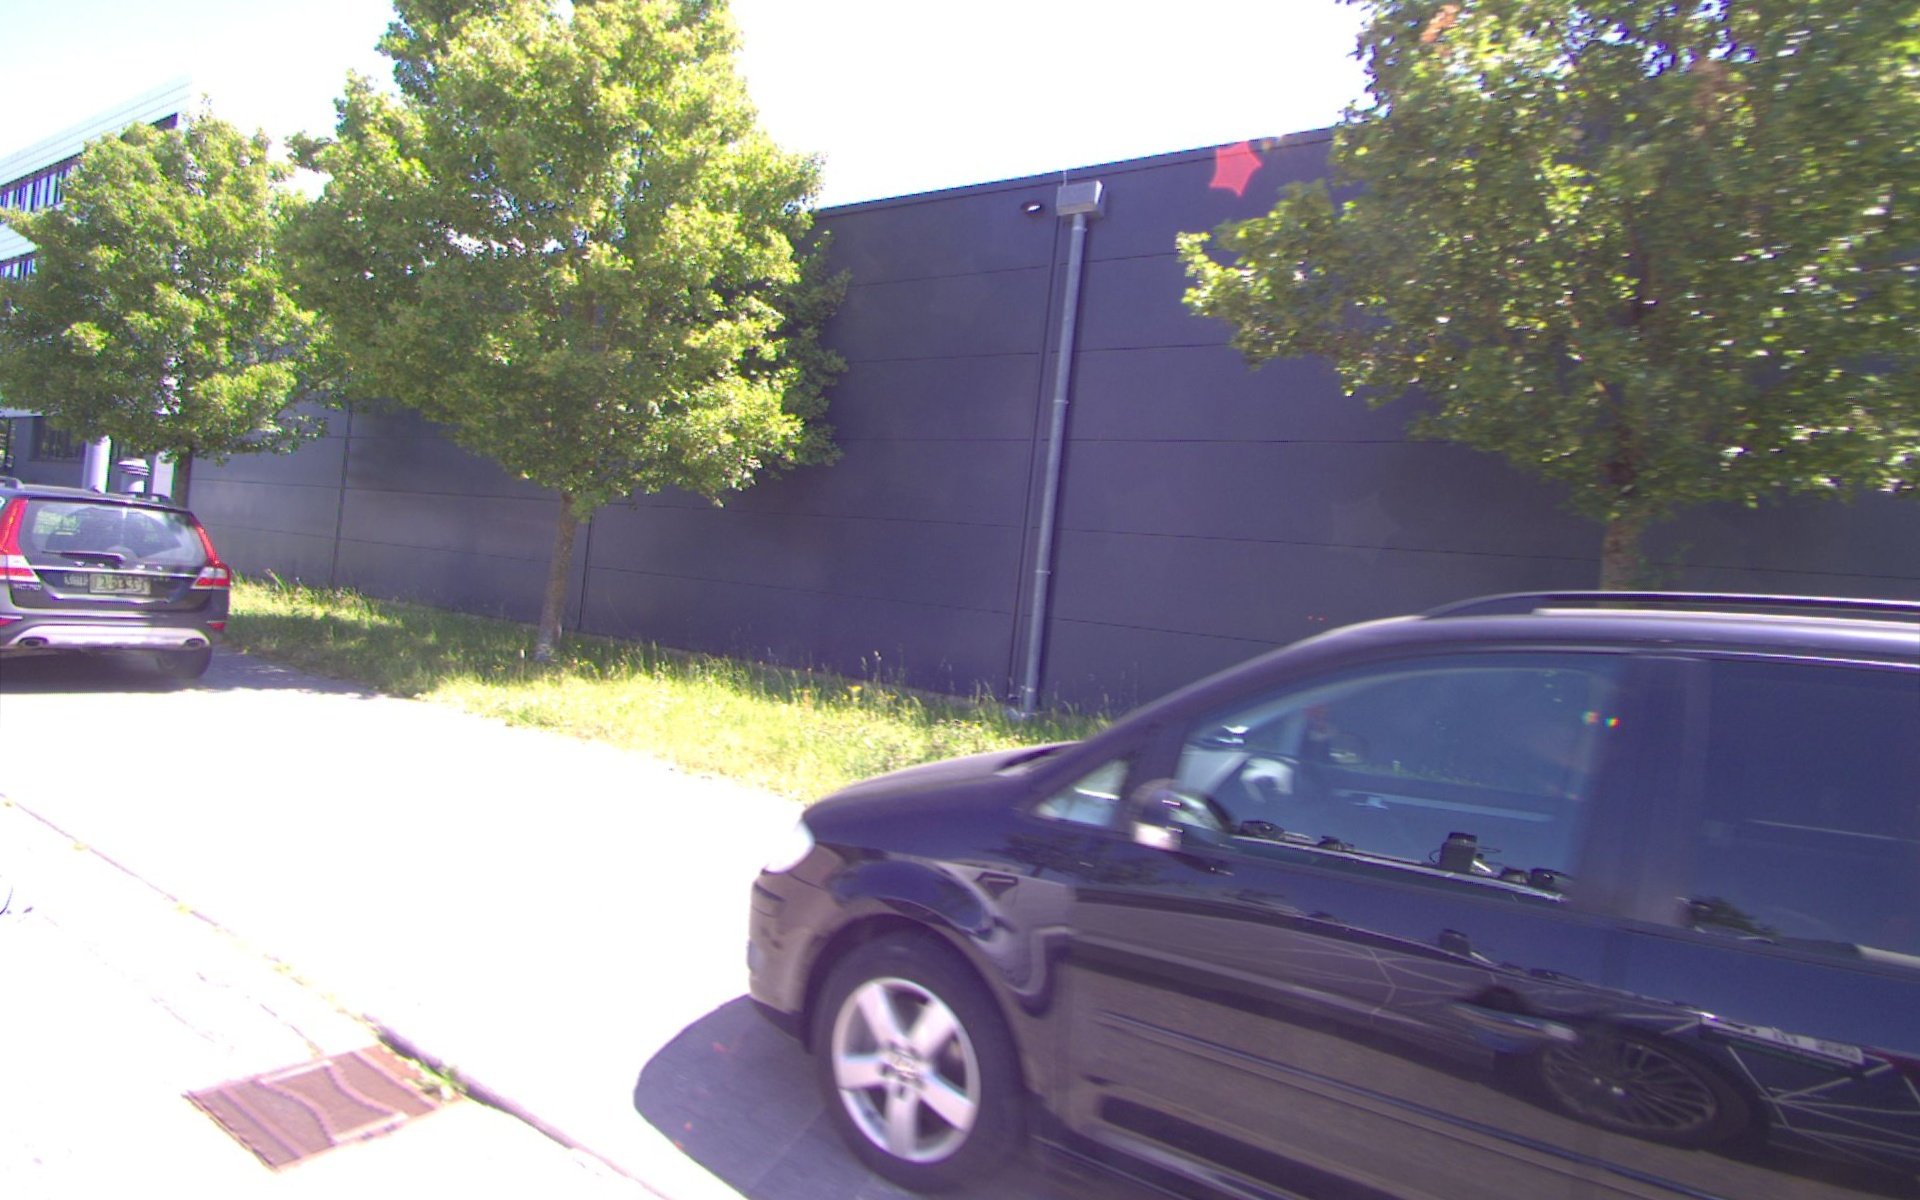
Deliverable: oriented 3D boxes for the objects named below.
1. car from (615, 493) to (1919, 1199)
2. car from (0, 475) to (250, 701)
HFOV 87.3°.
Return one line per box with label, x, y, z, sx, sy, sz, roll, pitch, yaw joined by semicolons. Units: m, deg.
car;1.325;0.773;2.562;4.295;1.691;1.739;6;1;32
car;-8.564;-0.263;9.054;4.636;1.638;1.808;6;1;32
